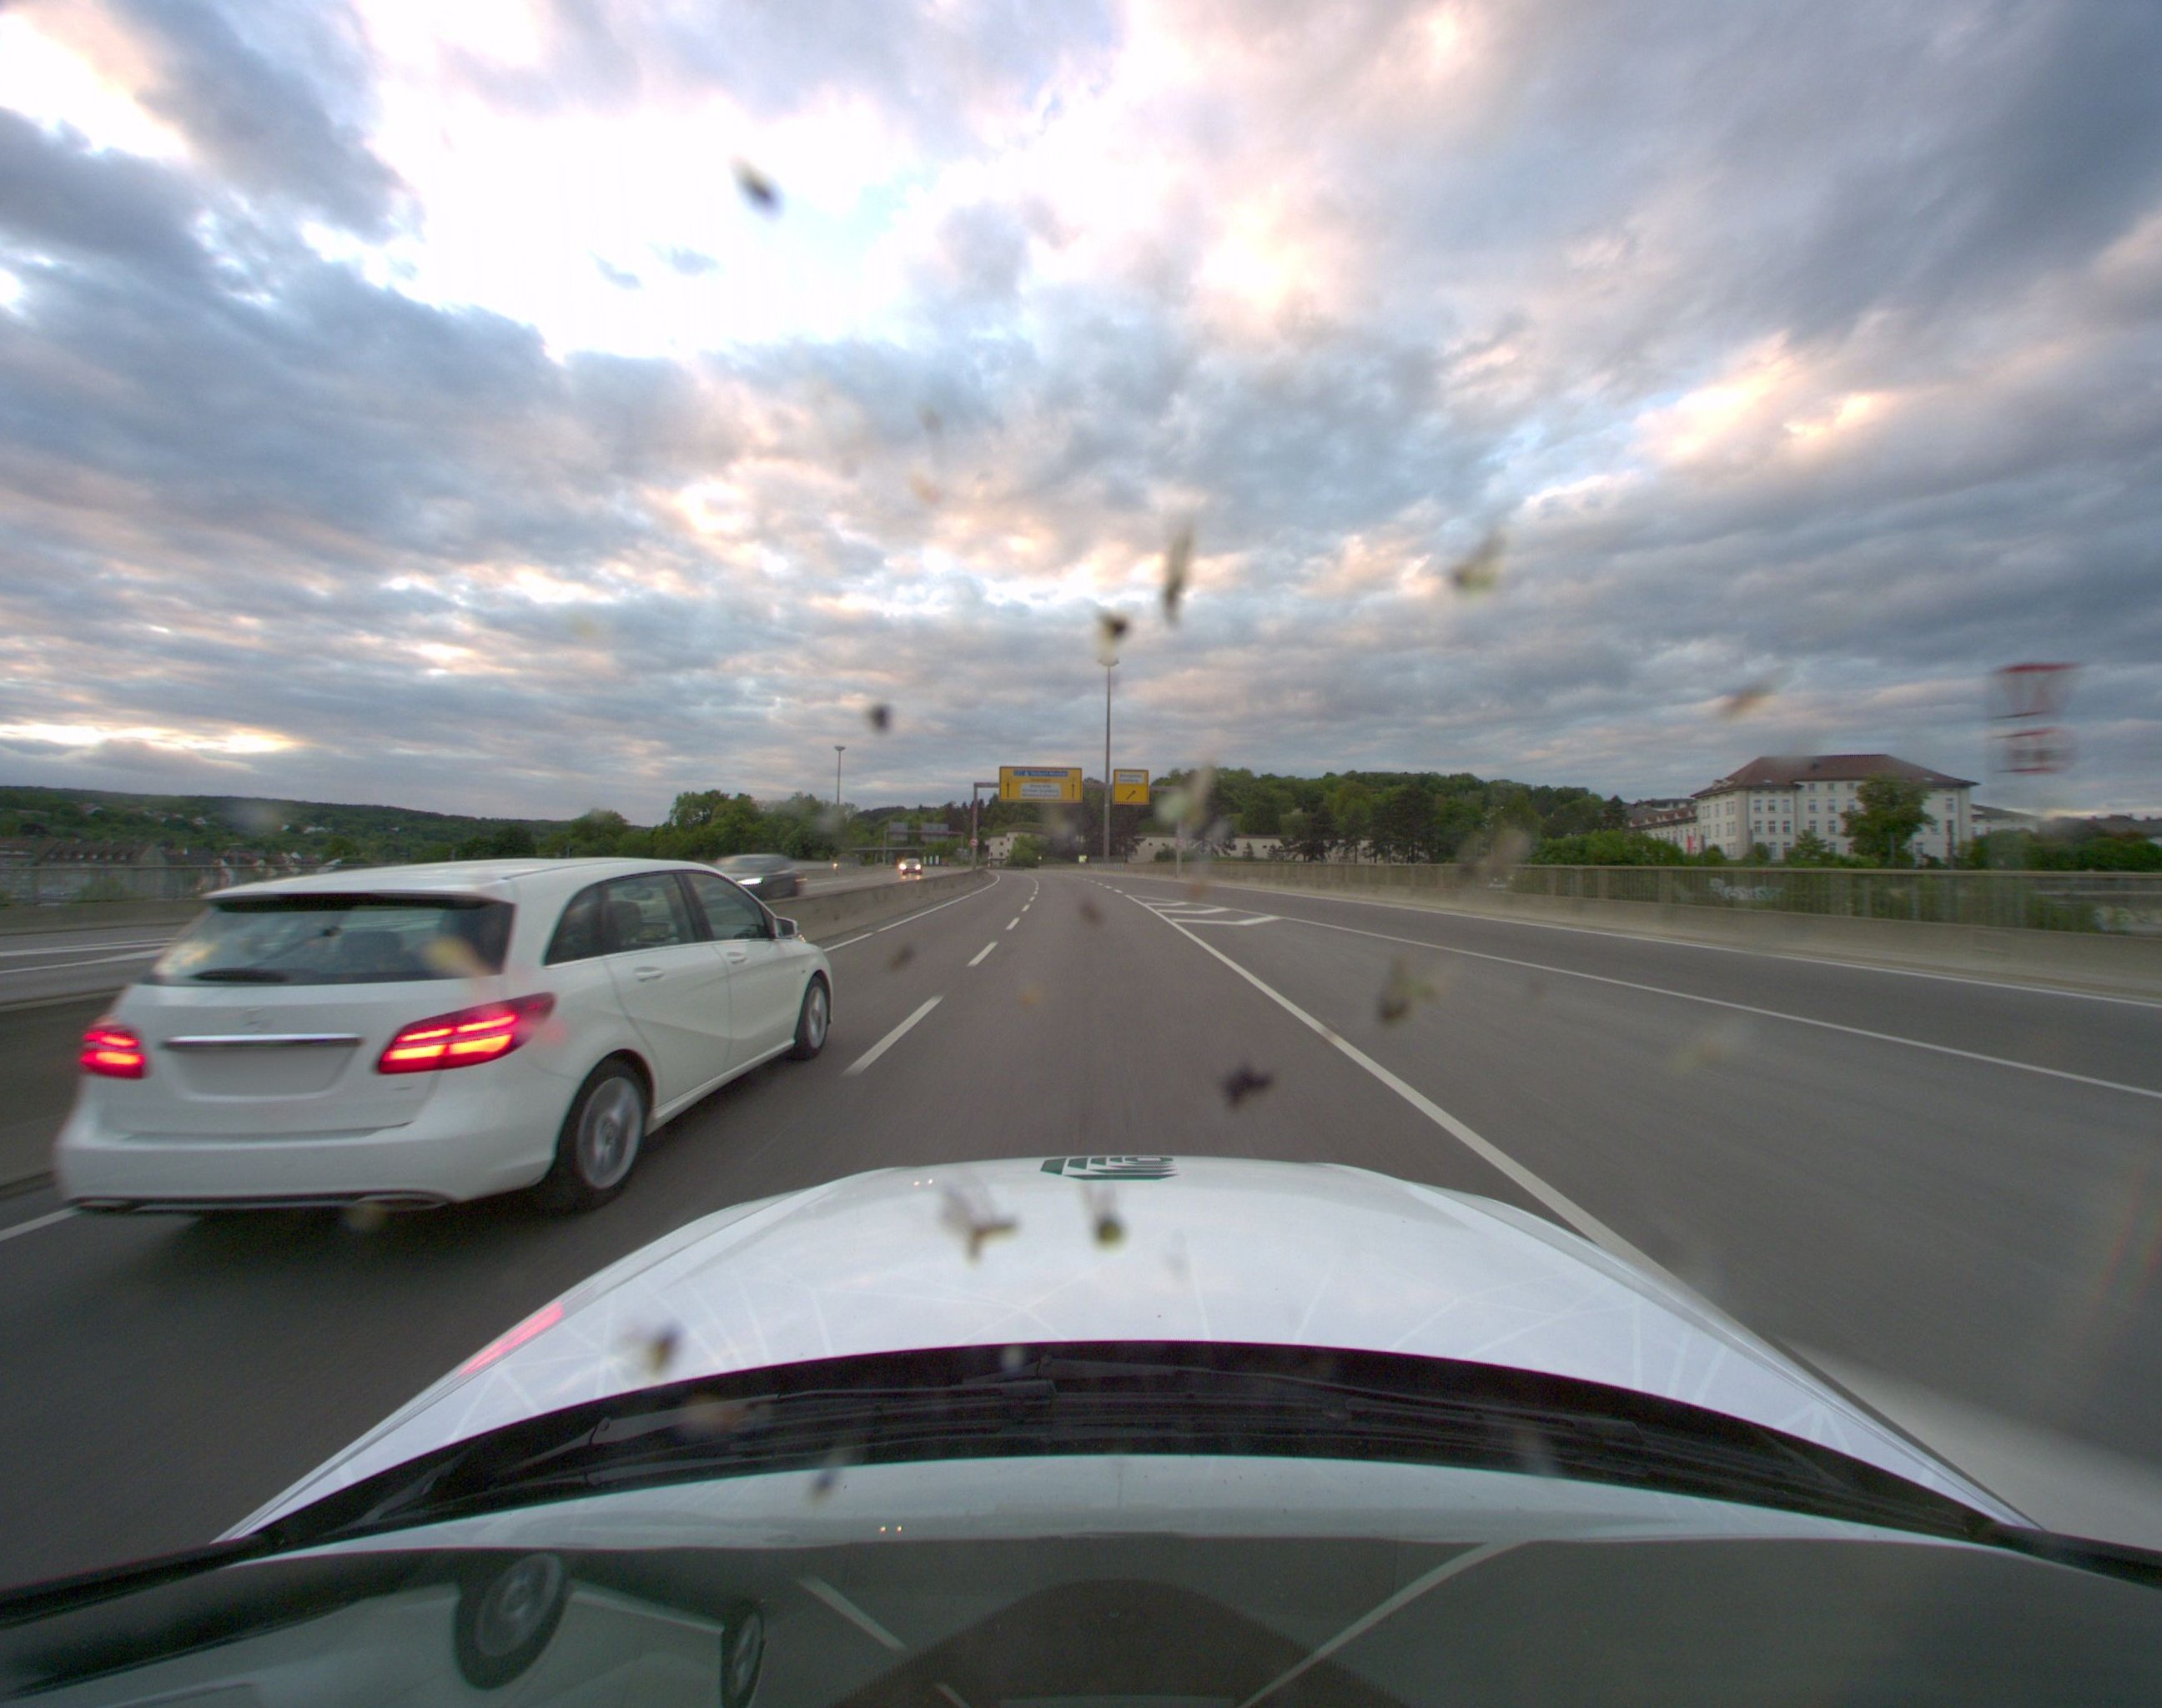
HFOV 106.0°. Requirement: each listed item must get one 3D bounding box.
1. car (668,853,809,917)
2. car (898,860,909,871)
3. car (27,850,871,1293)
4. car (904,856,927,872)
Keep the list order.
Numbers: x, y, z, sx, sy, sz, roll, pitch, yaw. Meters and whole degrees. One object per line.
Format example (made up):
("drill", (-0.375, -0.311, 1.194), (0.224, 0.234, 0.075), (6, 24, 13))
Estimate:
("car", (-8.944, 0.758, 21.743), (1.805, 1.534, 4.546), (0, 0, 0))
("car", (-29.663, 1.868, 136.093), (1.667, 1.732, 3.986), (0, -1, -10))
("car", (-2.861, 0.791, 5.283), (1.685, 1.537, 4.783), (-1, -1, 1))
("car", (-15.166, 0.895, 74.886), (1.729, 1.476, 4.212), (0, 0, -8))
